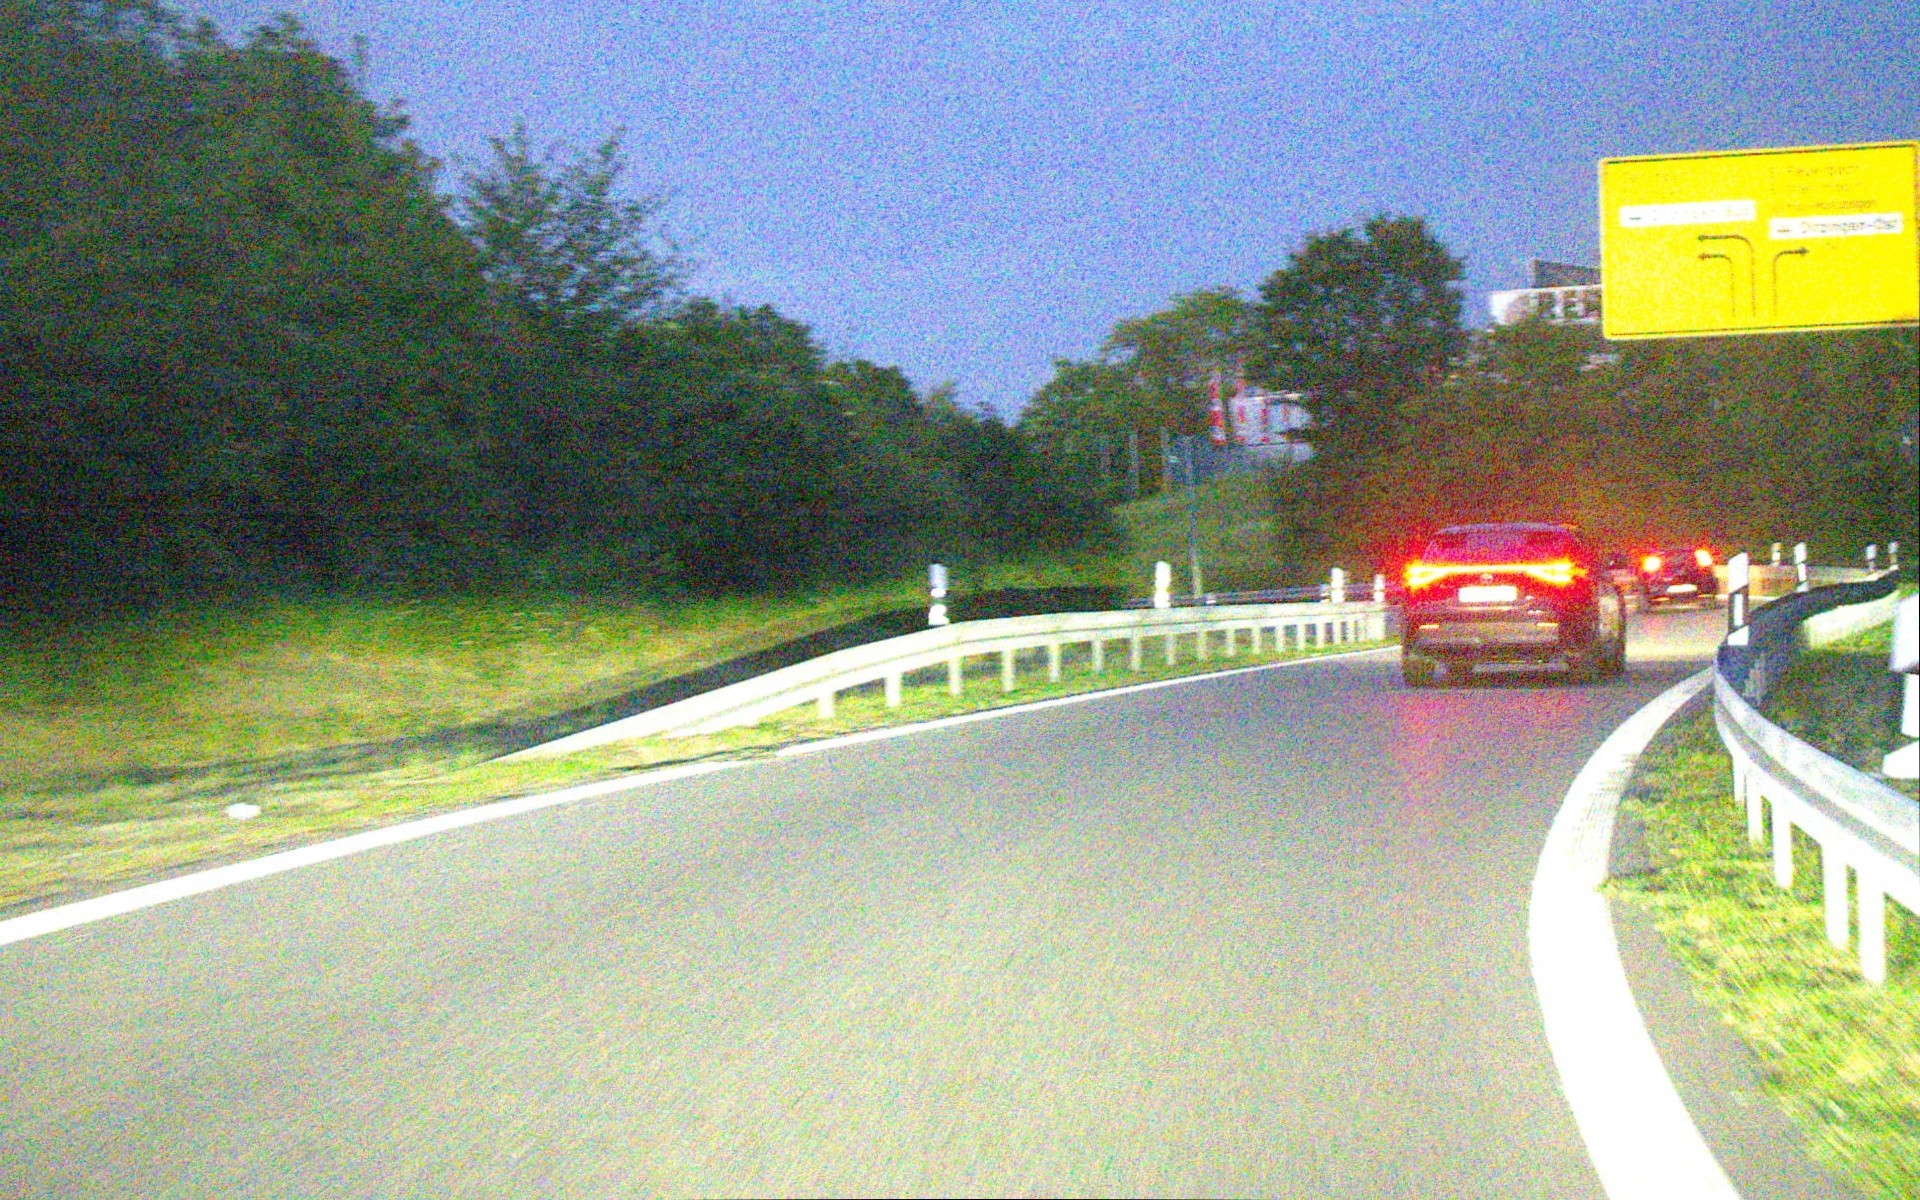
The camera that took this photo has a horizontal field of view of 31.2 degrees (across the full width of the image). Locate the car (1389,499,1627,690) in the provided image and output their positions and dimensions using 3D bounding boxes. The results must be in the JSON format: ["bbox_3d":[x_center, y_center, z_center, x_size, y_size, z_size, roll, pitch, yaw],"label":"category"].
[{"bbox_3d":[5.565,-0.106,34.516,1.995,1.653,4.313,-2,2,13],"label":"car"}]

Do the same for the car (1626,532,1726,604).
[{"bbox_3d":[16.307,-0.752,78.209,1.995,1.593,3.997,0,1,15],"label":"car"}]
